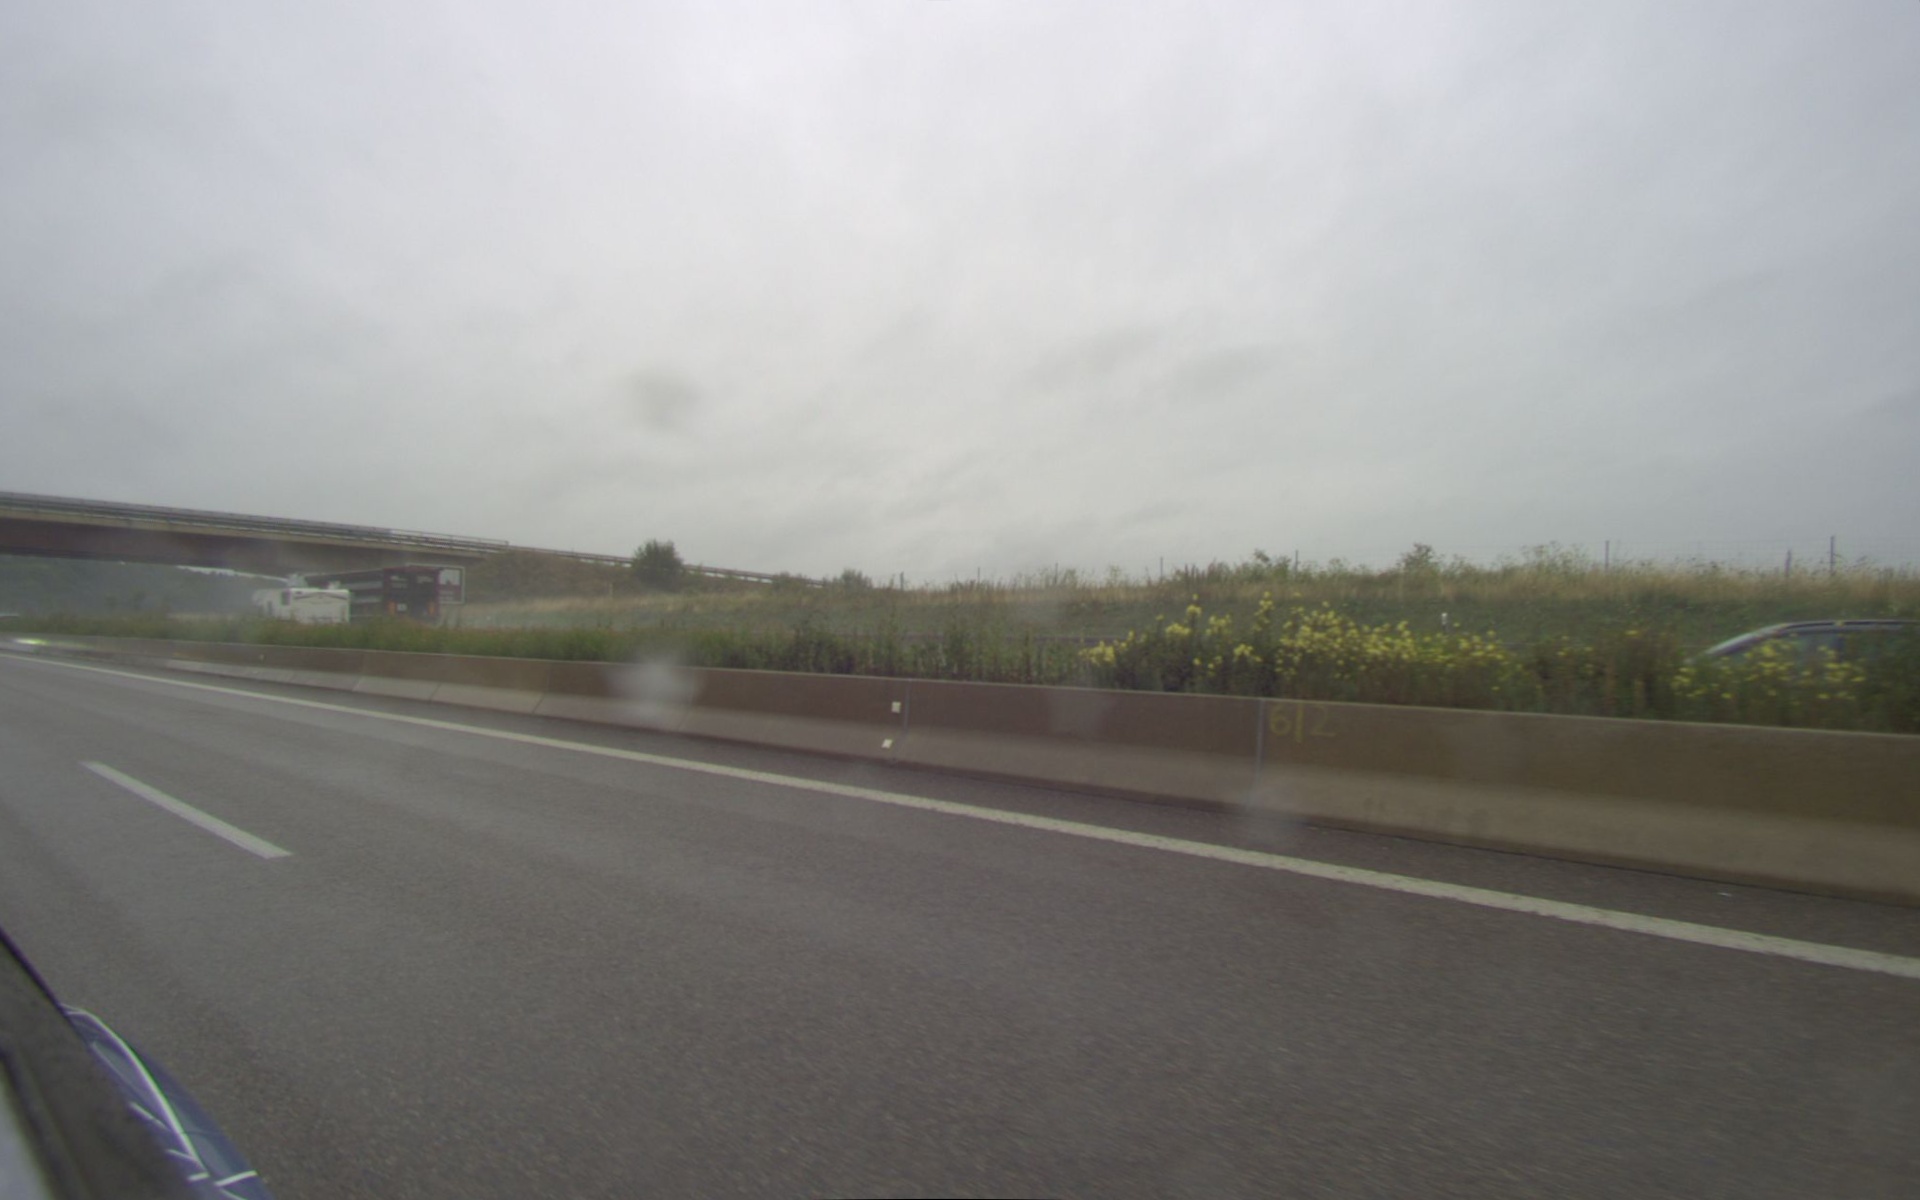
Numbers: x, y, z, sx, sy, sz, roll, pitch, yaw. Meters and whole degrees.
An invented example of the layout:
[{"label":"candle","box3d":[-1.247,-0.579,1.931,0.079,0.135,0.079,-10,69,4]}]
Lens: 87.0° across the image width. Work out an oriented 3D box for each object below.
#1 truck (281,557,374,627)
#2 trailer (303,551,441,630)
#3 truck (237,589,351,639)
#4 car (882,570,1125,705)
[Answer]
[{"label":"truck","box3d":[-34.674,-0.446,55.384,5.736,3.635,2.751,0,0,41]},{"label":"trailer","box3d":[-29.959,-0.453,51.250,11.145,3.648,2.735,0,0,42]},{"label":"truck","box3d":[-30.981,0.575,46.949,7.421,2.171,2.449,0,0,41]},{"label":"car","box3d":[0.566,0.513,14.699,3.351,1.735,1.472,-1,-1,41]}]
